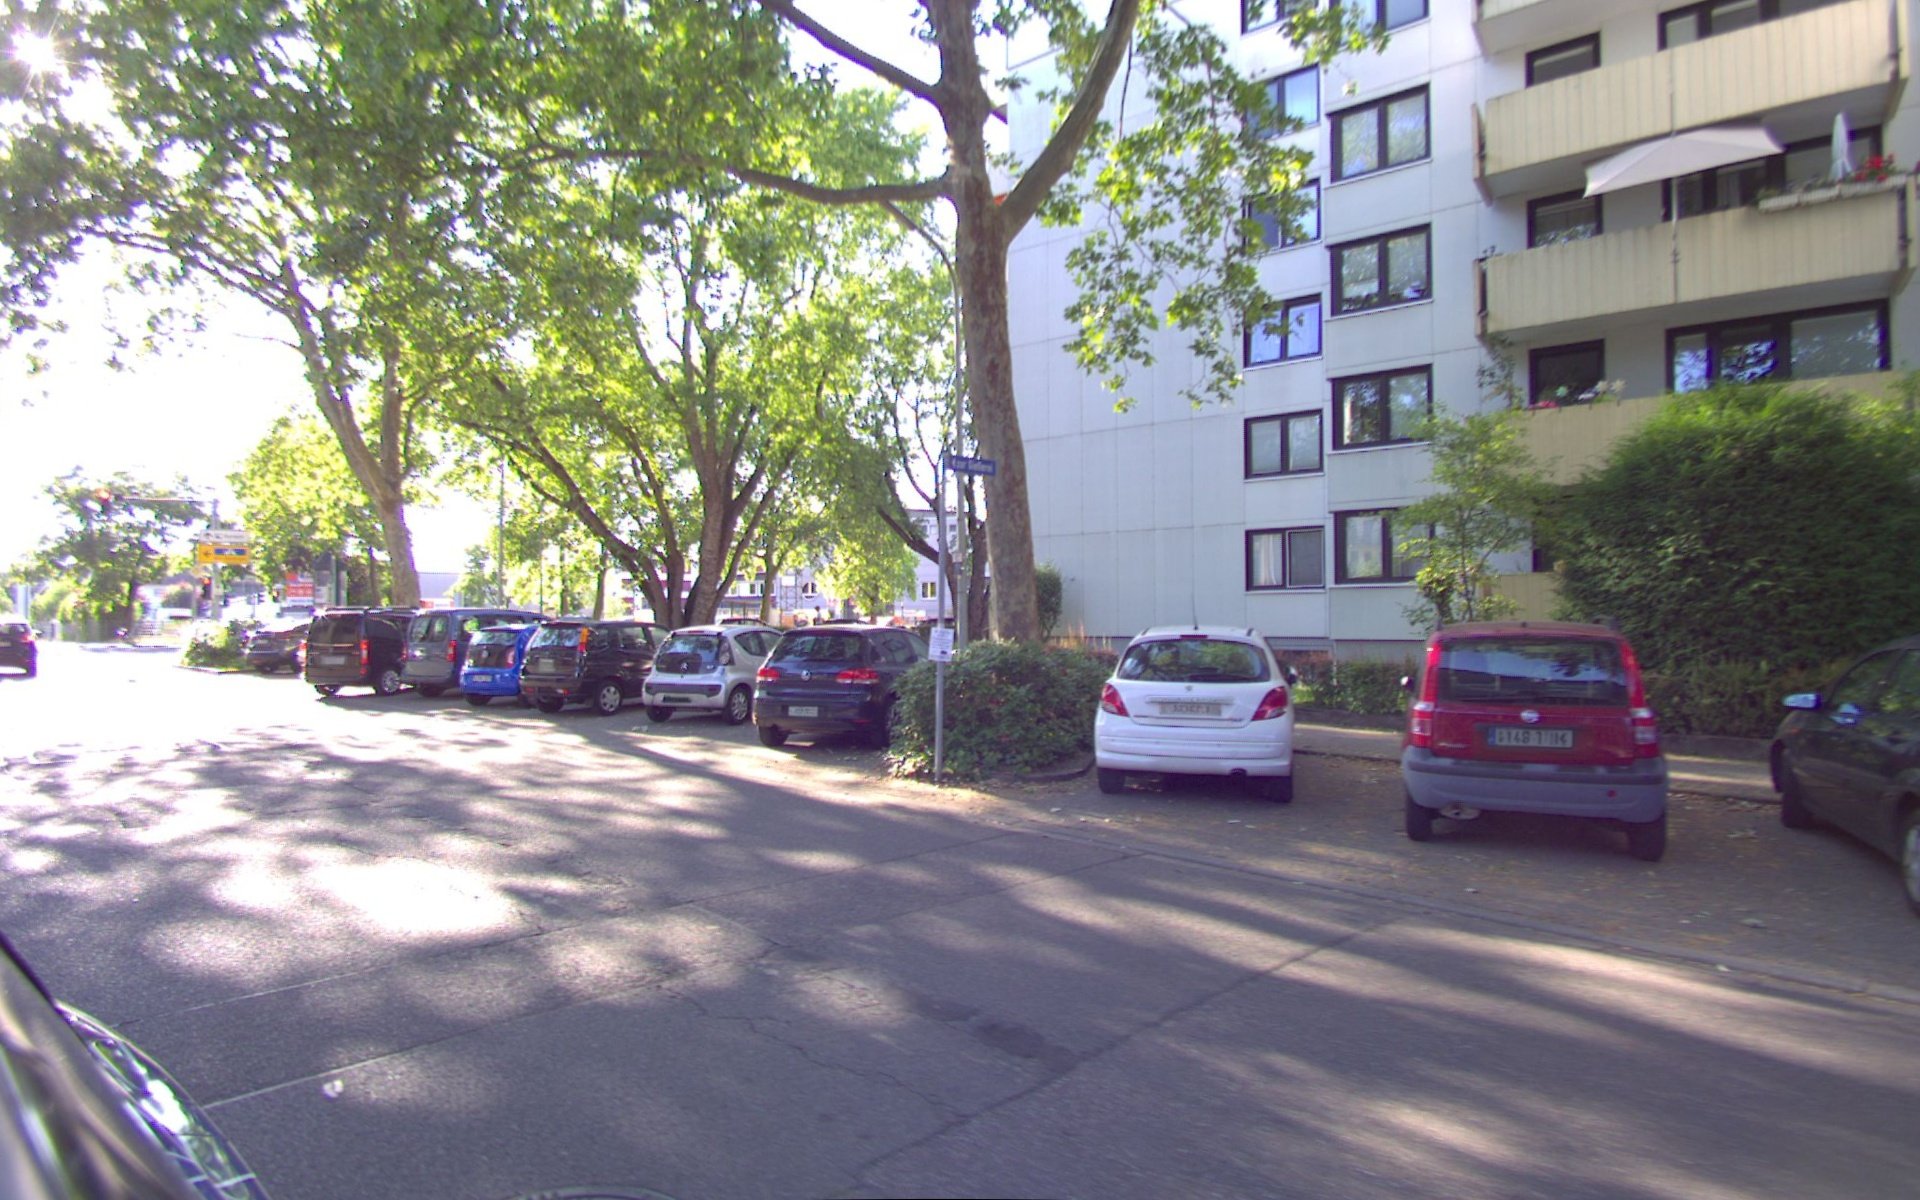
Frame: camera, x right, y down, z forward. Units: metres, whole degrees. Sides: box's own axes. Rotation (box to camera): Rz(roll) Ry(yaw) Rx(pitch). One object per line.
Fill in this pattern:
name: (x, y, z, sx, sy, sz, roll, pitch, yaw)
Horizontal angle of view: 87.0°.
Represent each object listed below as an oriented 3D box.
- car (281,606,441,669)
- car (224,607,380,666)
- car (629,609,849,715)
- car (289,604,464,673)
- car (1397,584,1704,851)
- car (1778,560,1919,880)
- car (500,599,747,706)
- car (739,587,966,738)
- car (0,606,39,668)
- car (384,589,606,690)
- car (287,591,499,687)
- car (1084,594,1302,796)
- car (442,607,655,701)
car: (-17.022, 1.024, 28.993, 1.699, 1.655, 3.984, -1, 0, 12)
car: (-19.549, 1.040, 30.270, 1.698, 1.655, 3.988, -1, 0, 9)
car: (-3.409, 0.895, 16.271, 1.695, 1.472, 3.622, -1, -1, 23)
car: (-15.175, 0.950, 26.563, 1.701, 1.655, 3.981, -1, 0, 15)
car: (4.430, 0.706, 7.974, 1.641, 1.572, 3.618, -1, -1, 26)
car: (6.020, 0.620, 5.494, 1.641, 1.674, 3.618, -1, -1, 26)
car: (-5.734, 0.851, 17.729, 1.790, 1.637, 3.960, -1, -1, 29)
car: (-1.239, 0.713, 13.244, 1.636, 1.674, 3.629, -1, -1, 18)
car: (-27.227, 1.029, 28.306, 4.001, 1.655, 1.938, -1, -1, 44)
car: (-9.603, 0.763, 21.200, 1.825, 1.896, 3.962, -1, -1, 28)
car: (-12.230, 0.789, 22.137, 1.703, 1.901, 3.977, -1, -1, 17)
car: (2.364, 0.757, 9.869, 1.695, 1.572, 3.630, -1, -1, 17)
car: (-7.639, 0.932, 19.121, 1.641, 1.572, 3.568, -1, -1, 26)
